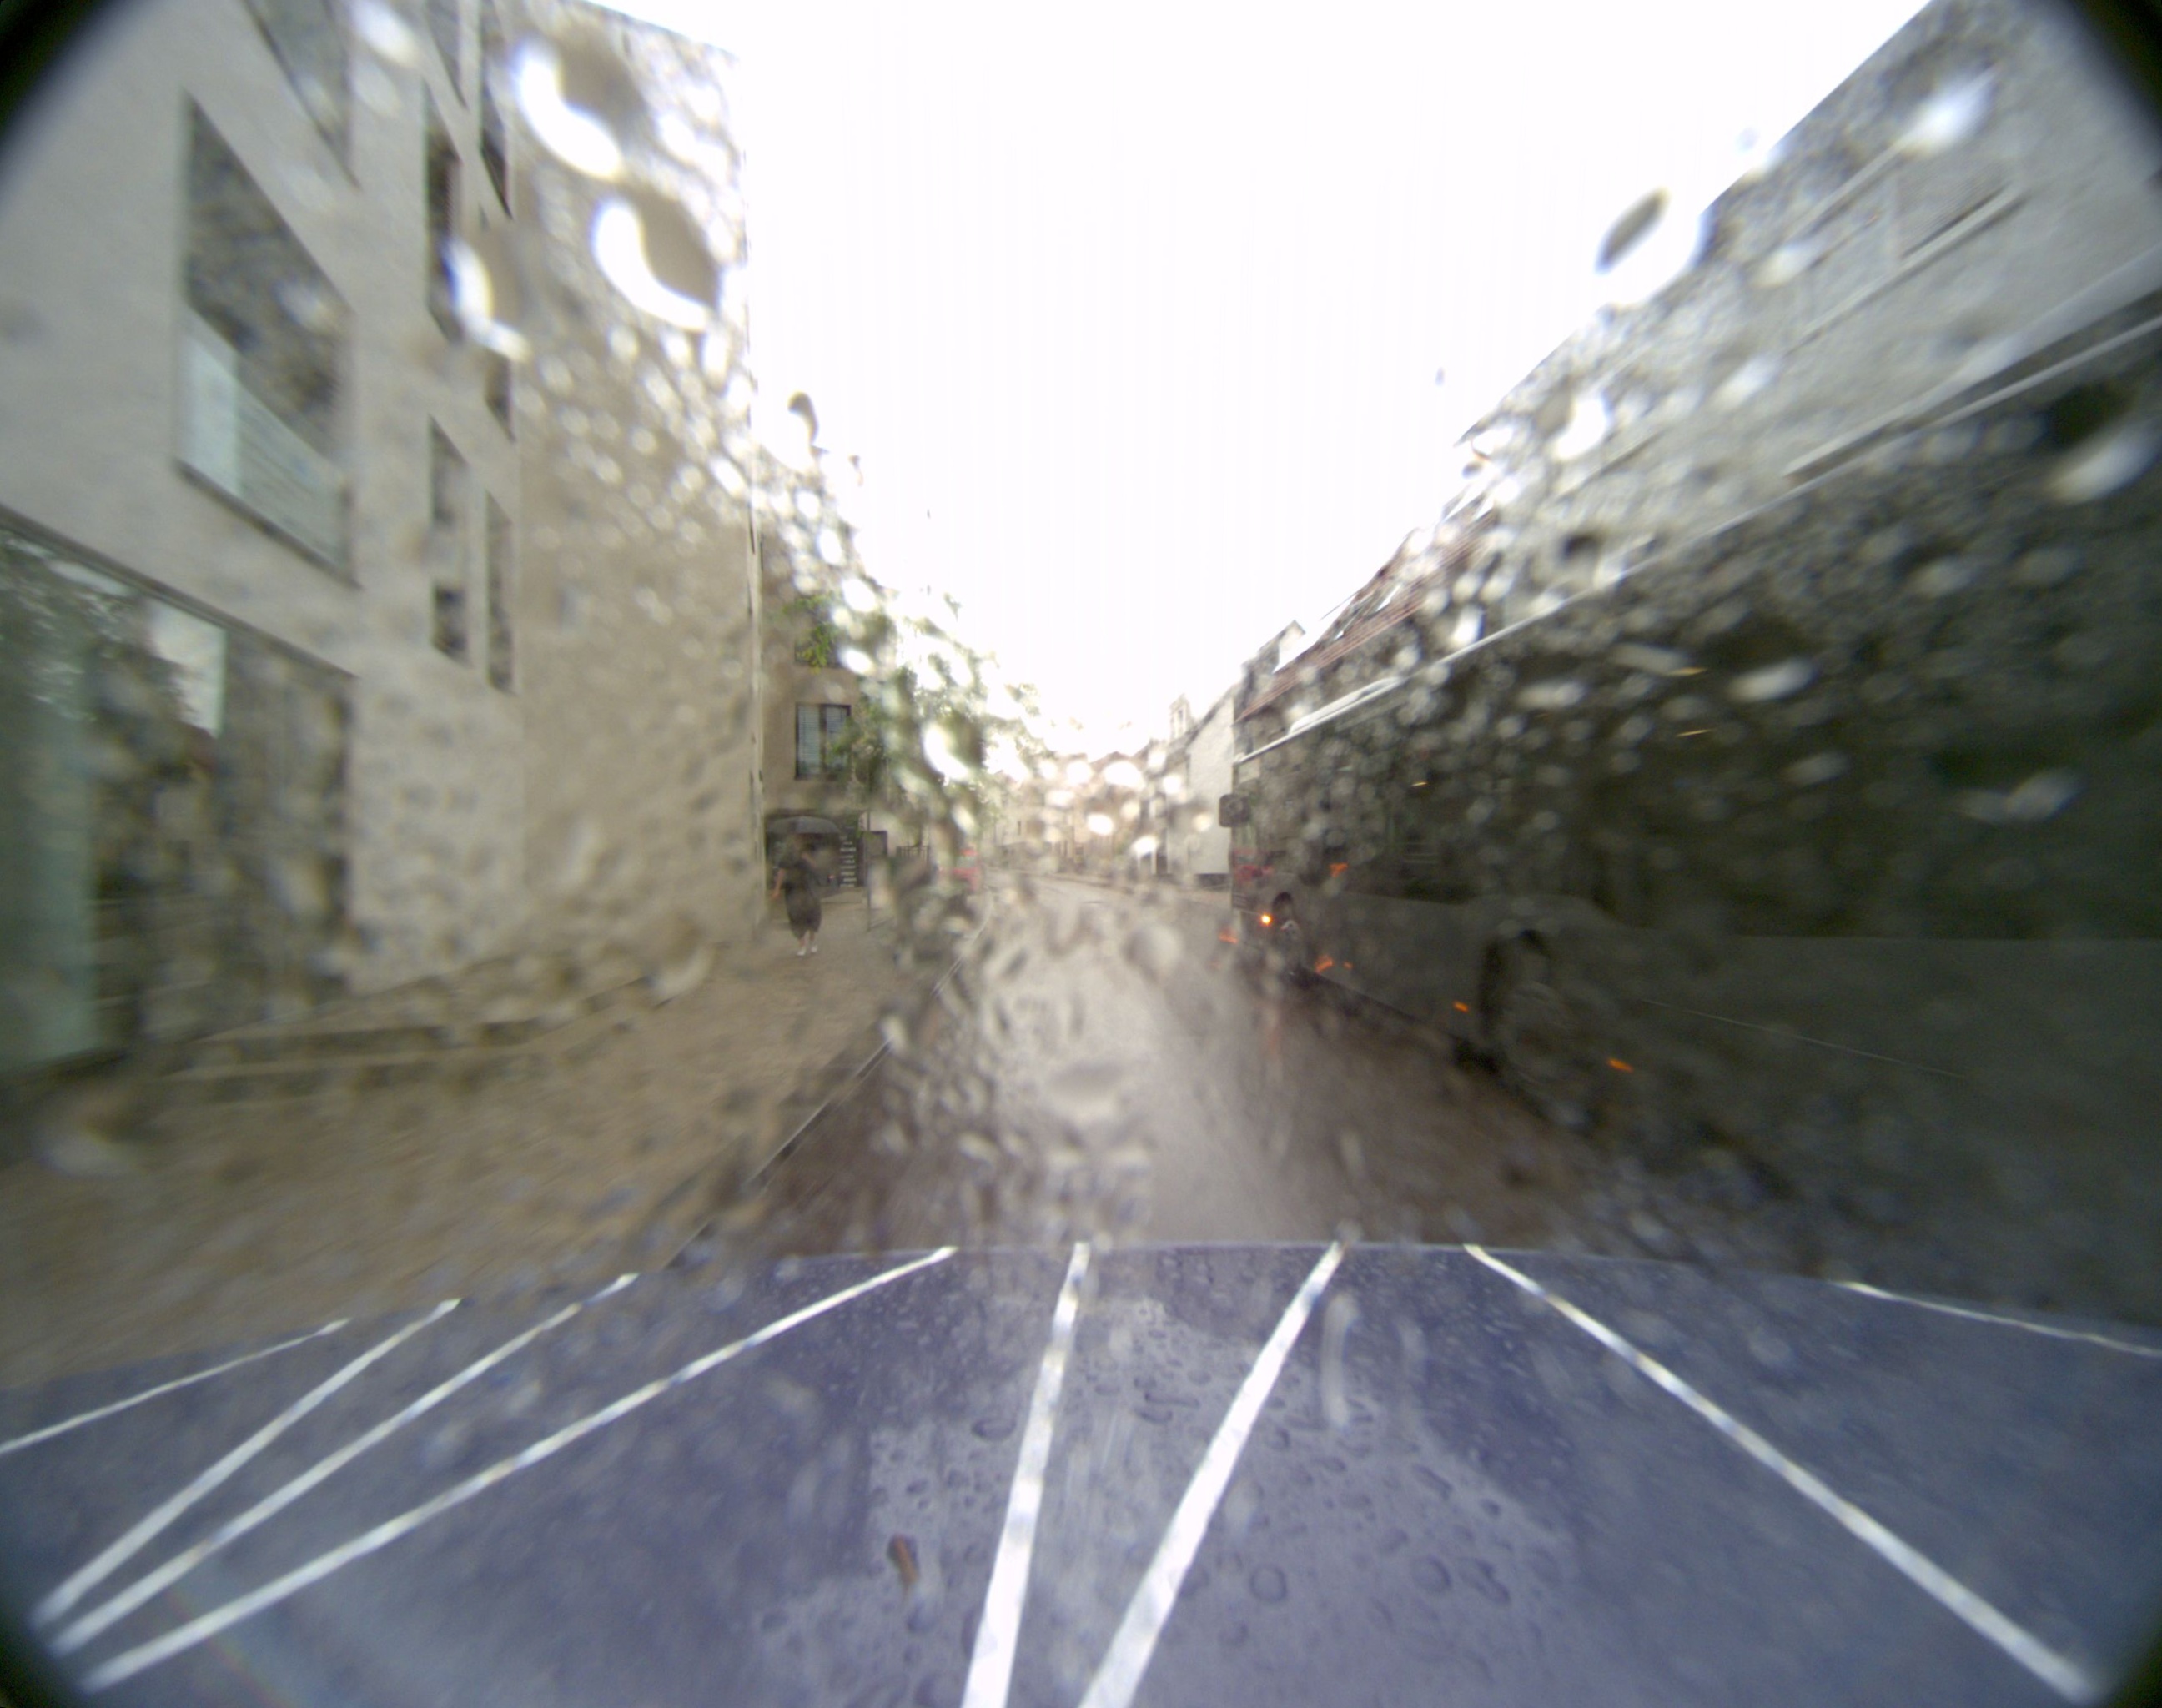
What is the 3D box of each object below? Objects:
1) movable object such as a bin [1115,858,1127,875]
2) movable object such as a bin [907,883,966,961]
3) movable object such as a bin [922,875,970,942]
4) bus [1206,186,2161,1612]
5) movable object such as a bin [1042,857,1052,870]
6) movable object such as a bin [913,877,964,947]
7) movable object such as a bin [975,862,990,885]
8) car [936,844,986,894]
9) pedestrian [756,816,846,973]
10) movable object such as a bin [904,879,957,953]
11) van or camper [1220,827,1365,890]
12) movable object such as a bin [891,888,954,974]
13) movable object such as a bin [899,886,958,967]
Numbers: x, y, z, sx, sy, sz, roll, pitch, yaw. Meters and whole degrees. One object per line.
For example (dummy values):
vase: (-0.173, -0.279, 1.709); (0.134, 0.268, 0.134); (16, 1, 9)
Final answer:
movable object such as a bin: (2.696, 0.824, 51.306); (0.659, 1.102, 0.720); (2, 1, -5)
movable object such as a bin: (-2.207, 1.027, 11.673); (0.763, 1.111, 0.624); (-1, 1, -2)
movable object such as a bin: (-2.459, 0.985, 13.917); (0.753, 1.164, 0.630); (0, 1, 1)
bus: (3.510, 0.080, 6.071); (2.731, 3.062, 10.943); (-2, 0, -2)
movable object such as a bin: (-2.862, 0.829, 64.220); (0.715, 1.053, 0.575); (-2, 2, -12)
movable object such as a bin: (-2.473, 0.995, 13.250); (0.753, 1.164, 0.630); (0, 1, 1)
movable object such as a bin: (-4.757, 0.932, 36.826); (0.711, 1.081, 0.600); (0, 1, -8)
car: (-4.967, 0.560, 31.972); (1.841, 1.896, 4.601); (1, 1, -6)
pedestrian: (-3.779, 0.512, 10.364); (0.870, 2.002, 1.082); (-2, 2, -7)
movable object such as a bin: (-2.481, 1.006, 12.575); (0.753, 1.164, 0.630); (0, 1, 1)
van or camper: (8.365, 0.155, 30.305); (5.039, 1.922, 1.998); (-6, 2, -7)
movable object such as a bin: (-2.173, 1.049, 10.473); (0.726, 1.111, 0.576); (-1, 1, -2)
movable object such as a bin: (-2.203, 1.039, 11.059); (0.726, 1.111, 0.576); (-1, 1, -2)
